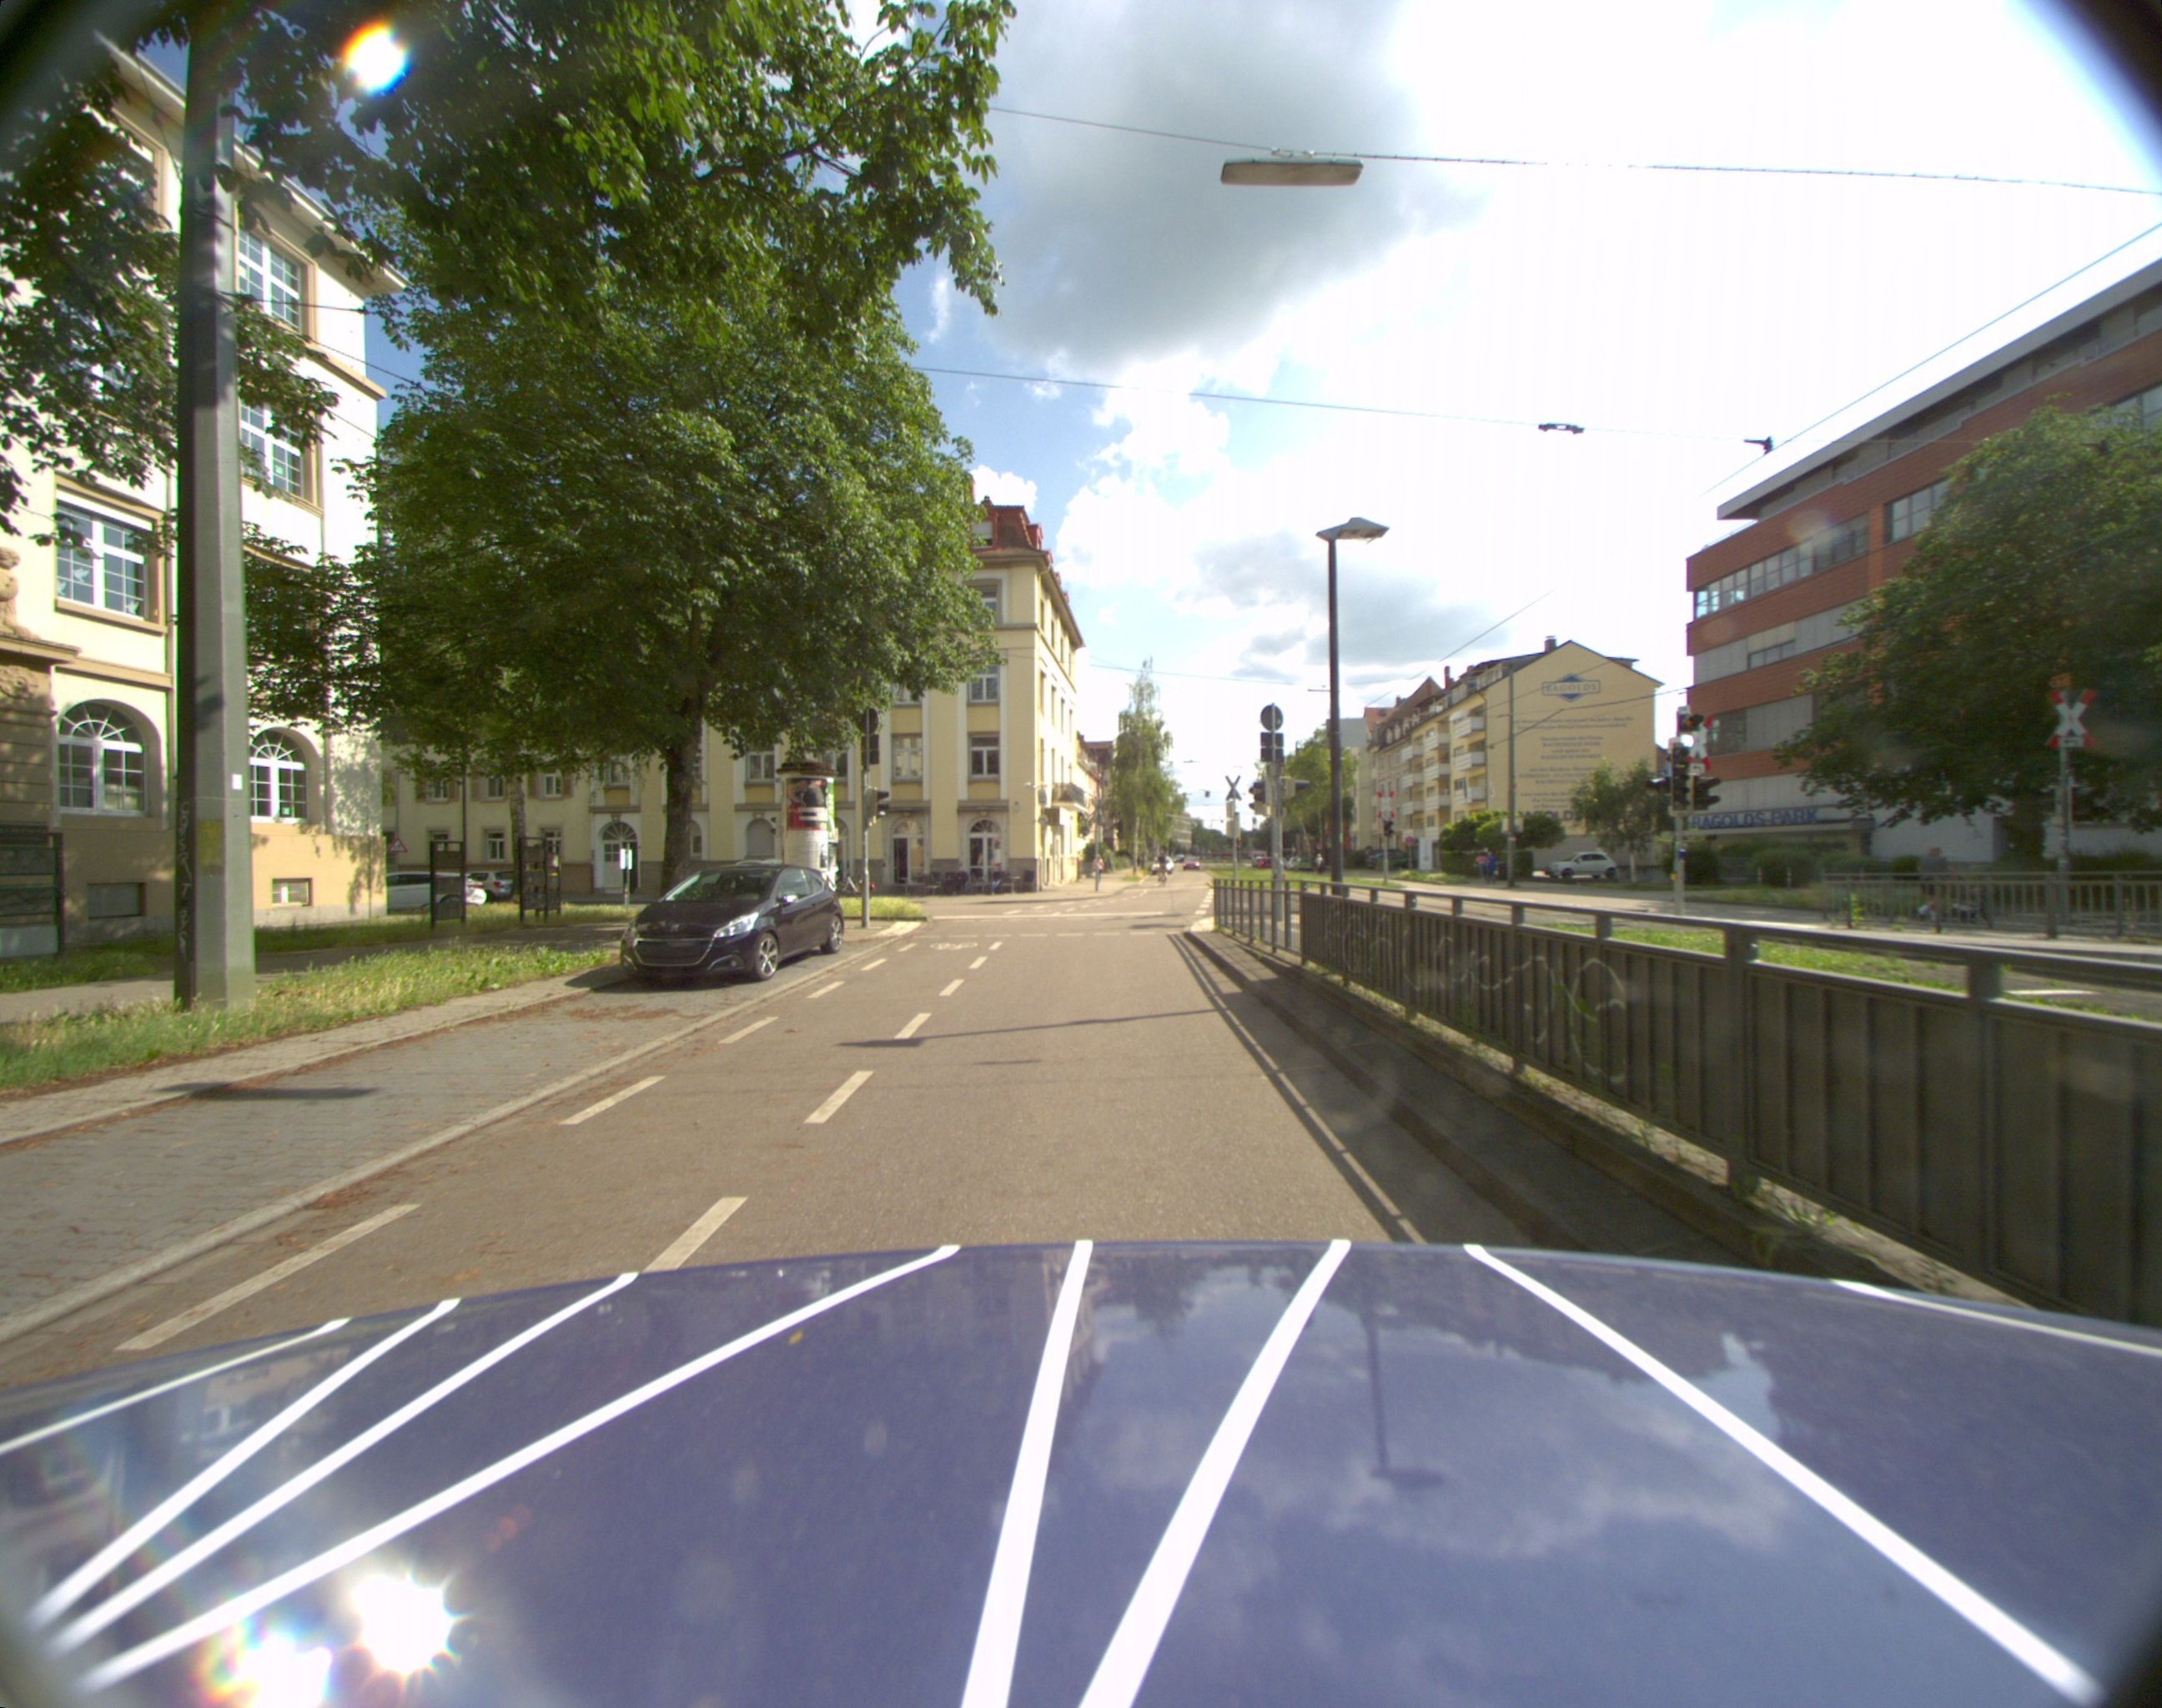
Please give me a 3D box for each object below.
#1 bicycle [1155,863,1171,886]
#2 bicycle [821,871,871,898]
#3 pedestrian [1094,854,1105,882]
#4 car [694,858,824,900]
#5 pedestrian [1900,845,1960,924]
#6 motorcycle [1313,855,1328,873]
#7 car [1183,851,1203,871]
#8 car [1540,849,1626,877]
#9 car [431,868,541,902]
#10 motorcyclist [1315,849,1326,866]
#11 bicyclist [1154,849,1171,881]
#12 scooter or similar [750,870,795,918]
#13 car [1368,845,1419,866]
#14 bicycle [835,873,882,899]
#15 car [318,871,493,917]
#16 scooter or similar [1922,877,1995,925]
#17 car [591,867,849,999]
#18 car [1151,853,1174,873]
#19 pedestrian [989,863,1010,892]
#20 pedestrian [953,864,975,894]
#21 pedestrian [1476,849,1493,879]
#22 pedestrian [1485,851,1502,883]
[{"bbox_3d":[4.569,1.124,42.043,0.772,1.098,2.572,-4,1,7],"label":"bicycle"},{"bbox_3d":[-9.997,1.301,32.379,1.944,1.134,0.616,0,2,-2],"label":"bicycle"},{"bbox_3d":[1.078,0.794,44.235,0.593,1.622,0.538,2,1,3],"label":"pedestrian"},{"bbox_3d":[-13.731,1.041,32.510,4.828,1.646,1.858,-1,2,11],"label":"car"},{"bbox_3d":[19.487,0.694,17.455,0.659,1.782,0.620,1,0,-4],"label":"pedestrian"},{"bbox_3d":[19.495,0.809,61.902,0.634,1.395,2.010,-2,1,3],"label":"motorcycle"},{"bbox_3d":[12.277,0.724,83.375,1.997,2.002,4.002,-2,1,8],"label":"car"},{"bbox_3d":[28.271,0.516,42.922,3.608,1.470,1.777,-1,-3,8],"label":"car"},{"bbox_3d":[-27.660,1.432,35.368,3.993,1.417,1.858,-1,3,13],"label":"car"},{"bbox_3d":[19.489,0.253,61.919,0.663,1.350,0.693,-2,1,3],"label":"motorcyclist"},{"bbox_3d":[4.518,0.599,42.160,0.772,1.664,0.951,-5,1,7],"label":"bicyclist"},{"bbox_3d":[-8.282,1.059,20.391,1.105,1.234,0.447,0,1,23],"label":"scooter or similar"},{"bbox_3d":[30.282,0.167,73.848,4.255,2.002,2.002,-1,0,10],"label":"car"},{"bbox_3d":[-9.308,1.327,31.764,1.941,1.039,0.617,1,2,22],"label":"bicycle"},{"bbox_3d":[-23.105,1.312,26.138,1.852,1.344,4.188,0,0,36],"label":"car"},{"bbox_3d":[20.163,1.066,17.476,0.988,1.049,0.620,1,0,-4],"label":"scooter or similar"},{"bbox_3d":[-4.729,0.940,10.652,1.689,1.379,3.924,1,1,1],"label":"car"},{"bbox_3d":[7.314,0.782,68.546,1.848,1.606,3.814,-2,1,3],"label":"car"},{"bbox_3d":[-3.670,1.072,34.323,0.804,1.238,0.892,-1,2,3],"label":"pedestrian"},{"bbox_3d":[-5.207,1.116,33.897,0.804,1.281,0.759,-1,3,3],"label":"pedestrian"},{"bbox_3d":[23.315,0.559,43.896,0.650,1.700,0.588,-1,1,2],"label":"pedestrian"},{"bbox_3d":[21.969,0.687,40.467,0.650,1.700,0.481,-1,1,2],"label":"pedestrian"}]
